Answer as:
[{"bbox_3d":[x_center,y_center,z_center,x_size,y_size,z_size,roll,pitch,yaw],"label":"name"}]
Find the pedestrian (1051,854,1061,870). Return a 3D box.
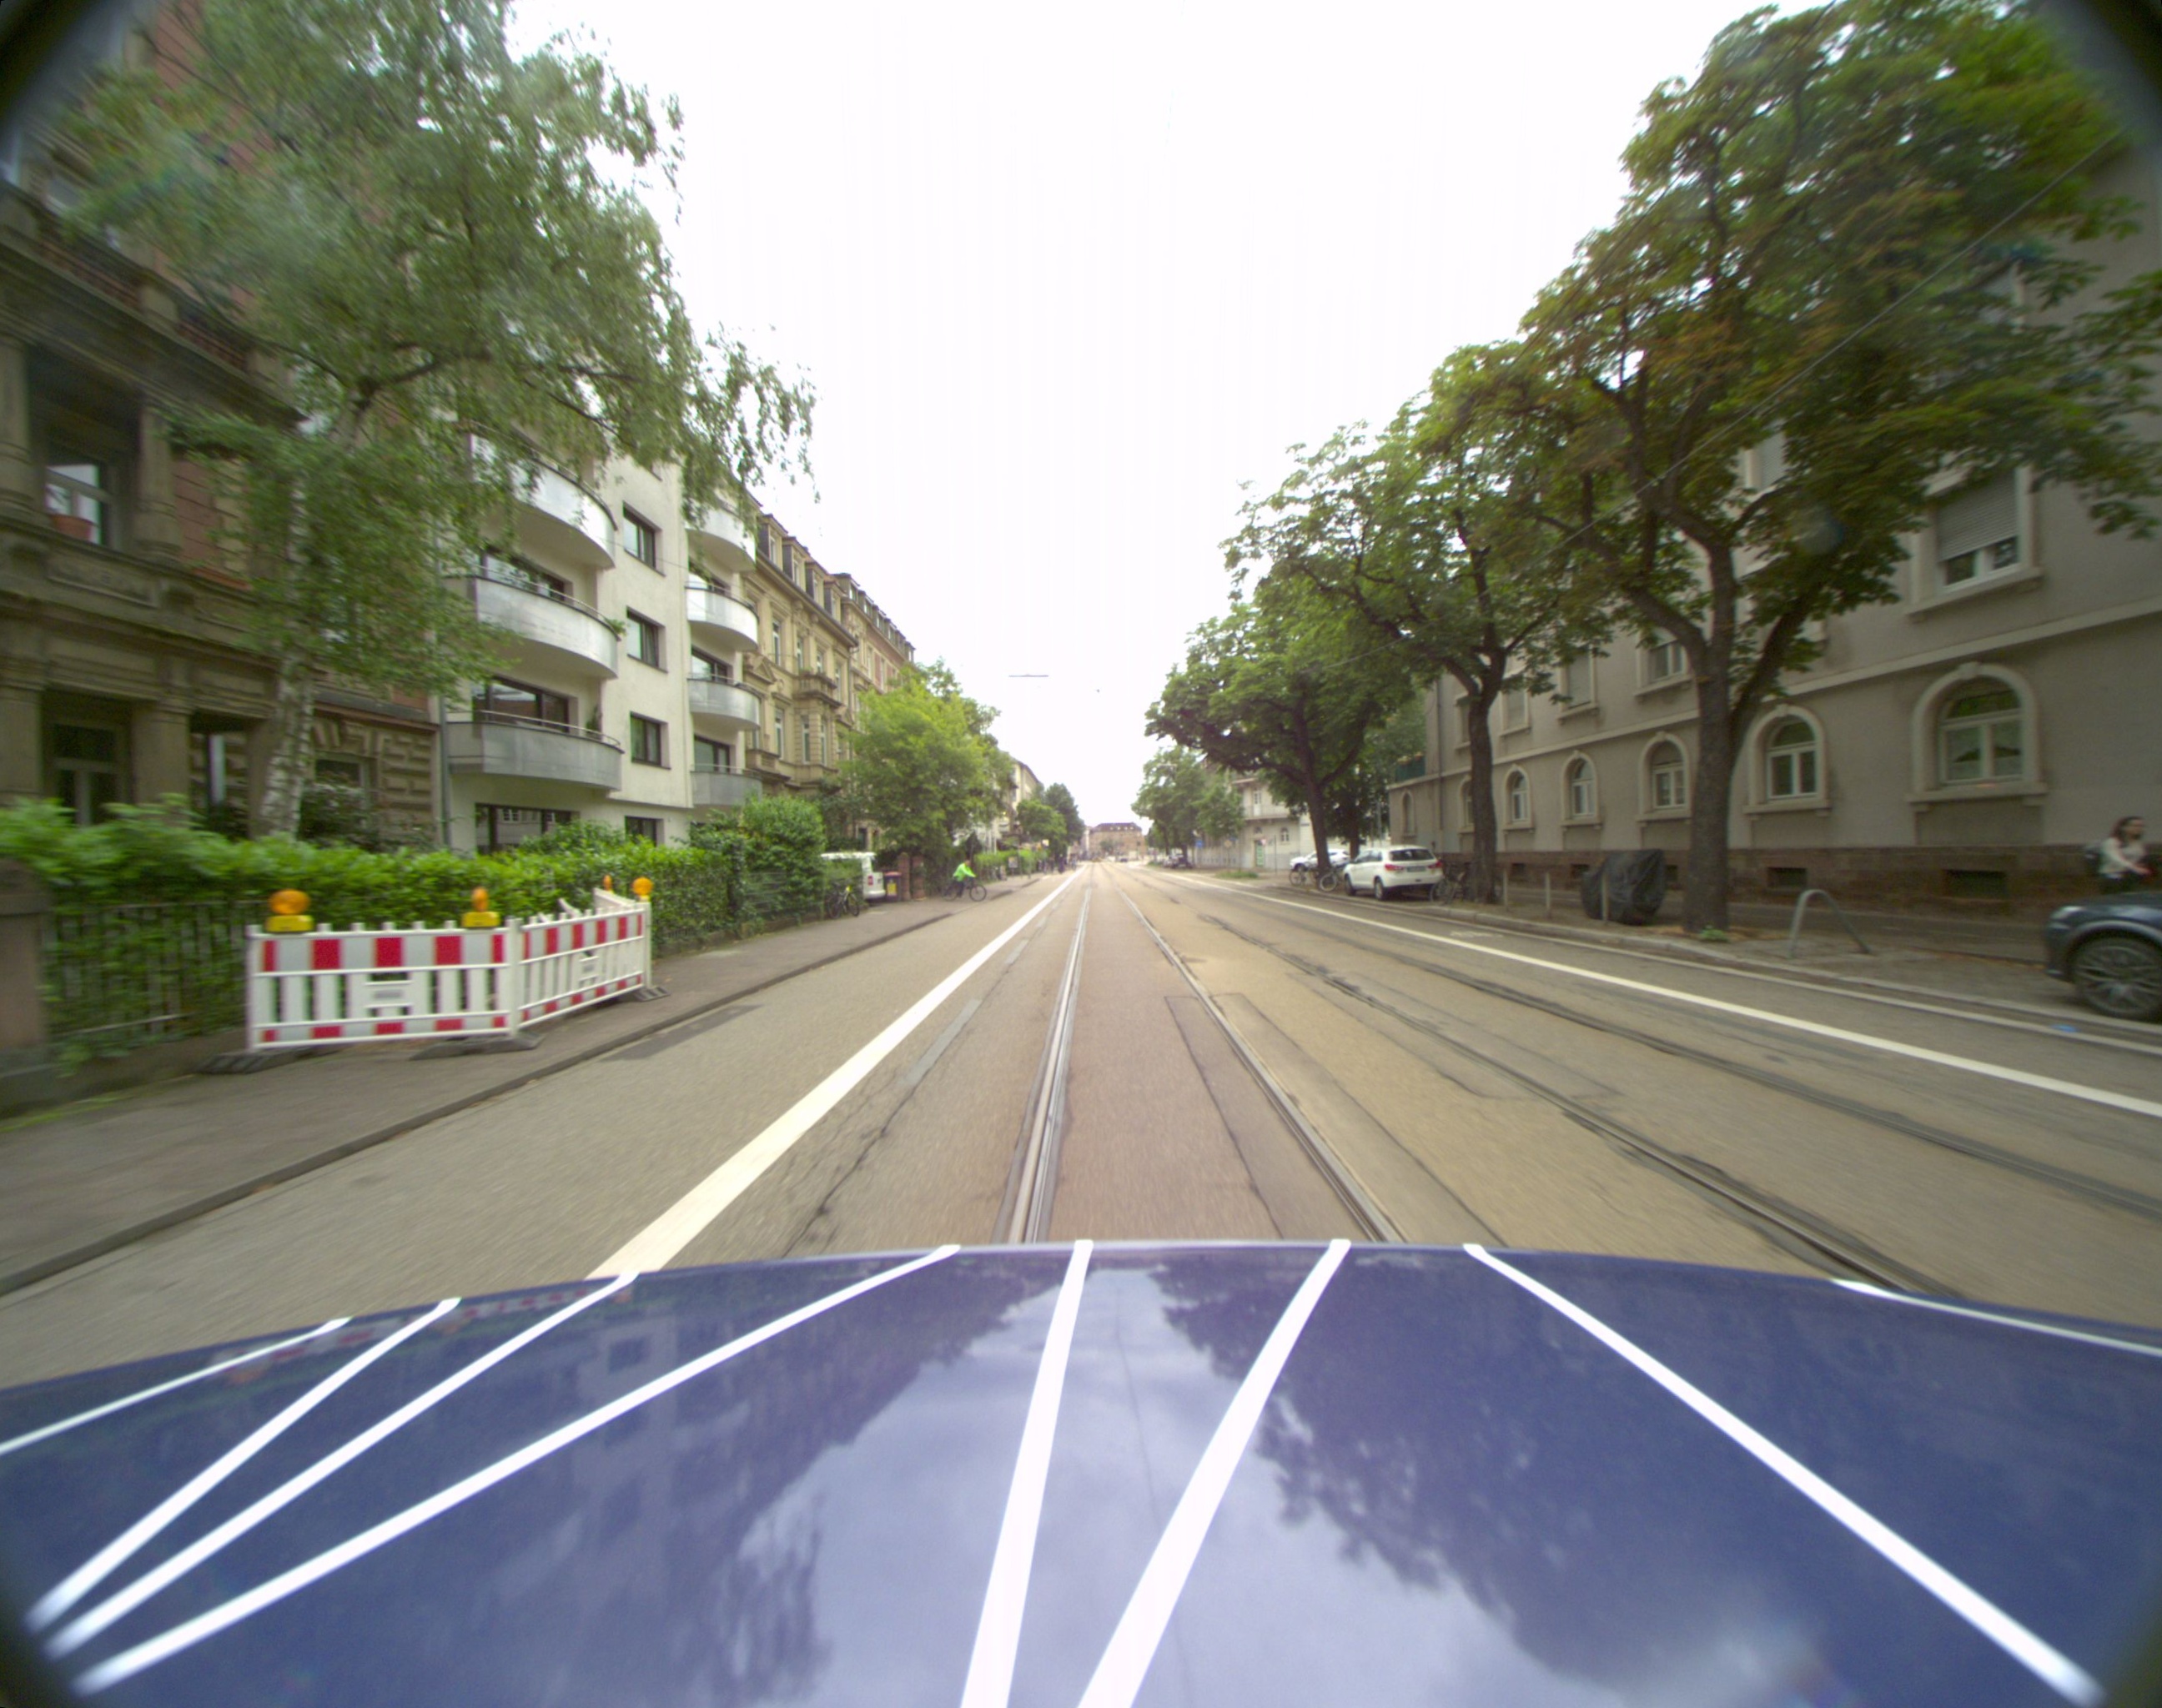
[{"bbox_3d":[-2.697,0.882,81.115,0.875,1.646,0.908,-2,0,-7],"label":"pedestrian"}]

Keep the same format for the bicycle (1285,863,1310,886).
[{"bbox_3d":[9.301,0.861,32.654,0.485,0.952,1.397,-2,0,-7],"label":"bicycle"}]

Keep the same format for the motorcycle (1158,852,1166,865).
[{"bbox_3d":[10.362,0.610,97.585,0.834,1.633,2.482,-2,0,9],"label":"motorcycle"}]

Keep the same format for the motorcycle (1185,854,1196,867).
[{"bbox_3d":[10.763,0.670,74.481,0.541,1.250,2.141,-2,0,-5],"label":"motorcycle"}]

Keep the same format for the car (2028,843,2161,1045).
[{"bbox_3d":[9.077,0.667,4.461,1.781,1.502,4.238,-3,0,2],"label":"car"}]

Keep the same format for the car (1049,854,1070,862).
[{"bbox_3d":[-4.708,0.887,168.013,4.330,1.542,1.747,-2,0,-21],"label":"car"}]

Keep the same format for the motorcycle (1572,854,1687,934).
[{"bbox_3d":[9.833,0.664,13.752,0.865,1.280,2.324,-3,0,15],"label":"motorcycle"}]

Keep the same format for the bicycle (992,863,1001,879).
[{"bbox_3d":[-5.576,1.130,50.268,0.302,1.035,1.848,-2,0,1],"label":"bicycle"}]

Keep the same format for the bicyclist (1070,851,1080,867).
[{"bbox_3d":[-0.652,0.564,83.516,0.774,1.681,0.870,-2,0,22],"label":"bicyclist"}]

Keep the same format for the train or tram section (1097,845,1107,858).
[{"bbox_3d":[6.354,-0.819,230.092,2.631,3.659,5.985,-2,0,-1],"label":"train or tram section"}]

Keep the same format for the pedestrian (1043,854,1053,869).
[{"bbox_3d":[-3.567,0.781,82.413,0.794,1.627,0.837,-1,2,17],"label":"pedestrian"}]

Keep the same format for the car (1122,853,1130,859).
[{"bbox_3d":[11.223,0.573,189.486,1.733,1.400,3.655,-2,0,1],"label":"car"}]

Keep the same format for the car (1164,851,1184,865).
[{"bbox_3d":[10.944,0.473,89.912,1.816,1.457,4.614,-3,0,1],"label":"car"}]

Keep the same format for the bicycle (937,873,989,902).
[{"bbox_3d":[-4.530,1.284,29.238,1.845,1.069,0.606,2,0,0],"label":"bicycle"}]

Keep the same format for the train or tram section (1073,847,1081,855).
[{"bbox_3d":[-1.475,-1.040,261.486,2.609,2.936,4.965,-2,0,-1],"label":"train or tram section"}]

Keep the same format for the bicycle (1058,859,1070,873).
[{"bbox_3d":[-1.672,1.182,75.436,0.852,1.234,2.310,-2,0,6],"label":"bicycle"}]

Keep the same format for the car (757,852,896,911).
[{"bbox_3d":[-8.480,0.897,25.572,3.996,1.847,1.809,-1,0,2],"label":"car"}]

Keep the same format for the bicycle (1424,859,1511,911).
[{"bbox_3d":[9.453,0.779,18.656,1.746,1.184,0.654,-4,-5,16],"label":"bicycle"}]

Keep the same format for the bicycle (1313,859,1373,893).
[{"bbox_3d":[9.593,0.817,27.899,1.927,1.114,0.624,-4,1,1],"label":"bicycle"}]

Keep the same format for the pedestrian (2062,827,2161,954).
[{"bbox_3d":[12.554,0.419,9.137,0.566,1.459,0.723,-2,0,1],"label":"pedestrian"}]

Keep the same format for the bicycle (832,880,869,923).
[{"bbox_3d":[-6.233,1.263,20.614,0.480,1.039,1.531,-2,0,2],"label":"bicycle"}]

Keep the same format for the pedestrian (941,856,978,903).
[{"bbox_3d":[-4.662,0.960,29.270,1.232,1.722,1.018,2,0,1],"label":"pedestrian"}]

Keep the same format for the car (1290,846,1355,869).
[{"bbox_3d":[18.838,0.266,59.218,4.505,1.653,1.942,-2,0,26],"label":"car"}]

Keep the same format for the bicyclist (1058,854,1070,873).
[{"bbox_3d":[-1.669,0.986,75.530,0.881,1.811,1.479,-2,-1,6],"label":"bicyclist"}]

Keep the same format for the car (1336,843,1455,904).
[{"bbox_3d":[9.621,0.563,23.615,1.902,1.646,4.225,-3,0,0],"label":"car"}]

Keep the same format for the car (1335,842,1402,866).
[{"bbox_3d":[19.813,0.008,52.350,4.060,1.402,1.665,-3,0,30],"label":"car"}]

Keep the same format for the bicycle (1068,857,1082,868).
[{"bbox_3d":[-0.630,0.956,83.522,0.774,1.205,1.872,-2,0,22],"label":"bicycle"}]

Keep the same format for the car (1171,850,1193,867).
[{"bbox_3d":[10.873,0.443,81.794,1.842,1.651,4.294,-4,0,2],"label":"car"}]

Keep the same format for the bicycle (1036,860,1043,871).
[{"bbox_3d":[-4.394,1.206,81.015,0.634,1.121,1.812,0,-1,1],"label":"bicycle"}]

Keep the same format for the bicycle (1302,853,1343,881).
[{"bbox_3d":[10.247,0.550,32.298,0.677,1.129,1.934,-2,-1,-15],"label":"bicycle"}]
